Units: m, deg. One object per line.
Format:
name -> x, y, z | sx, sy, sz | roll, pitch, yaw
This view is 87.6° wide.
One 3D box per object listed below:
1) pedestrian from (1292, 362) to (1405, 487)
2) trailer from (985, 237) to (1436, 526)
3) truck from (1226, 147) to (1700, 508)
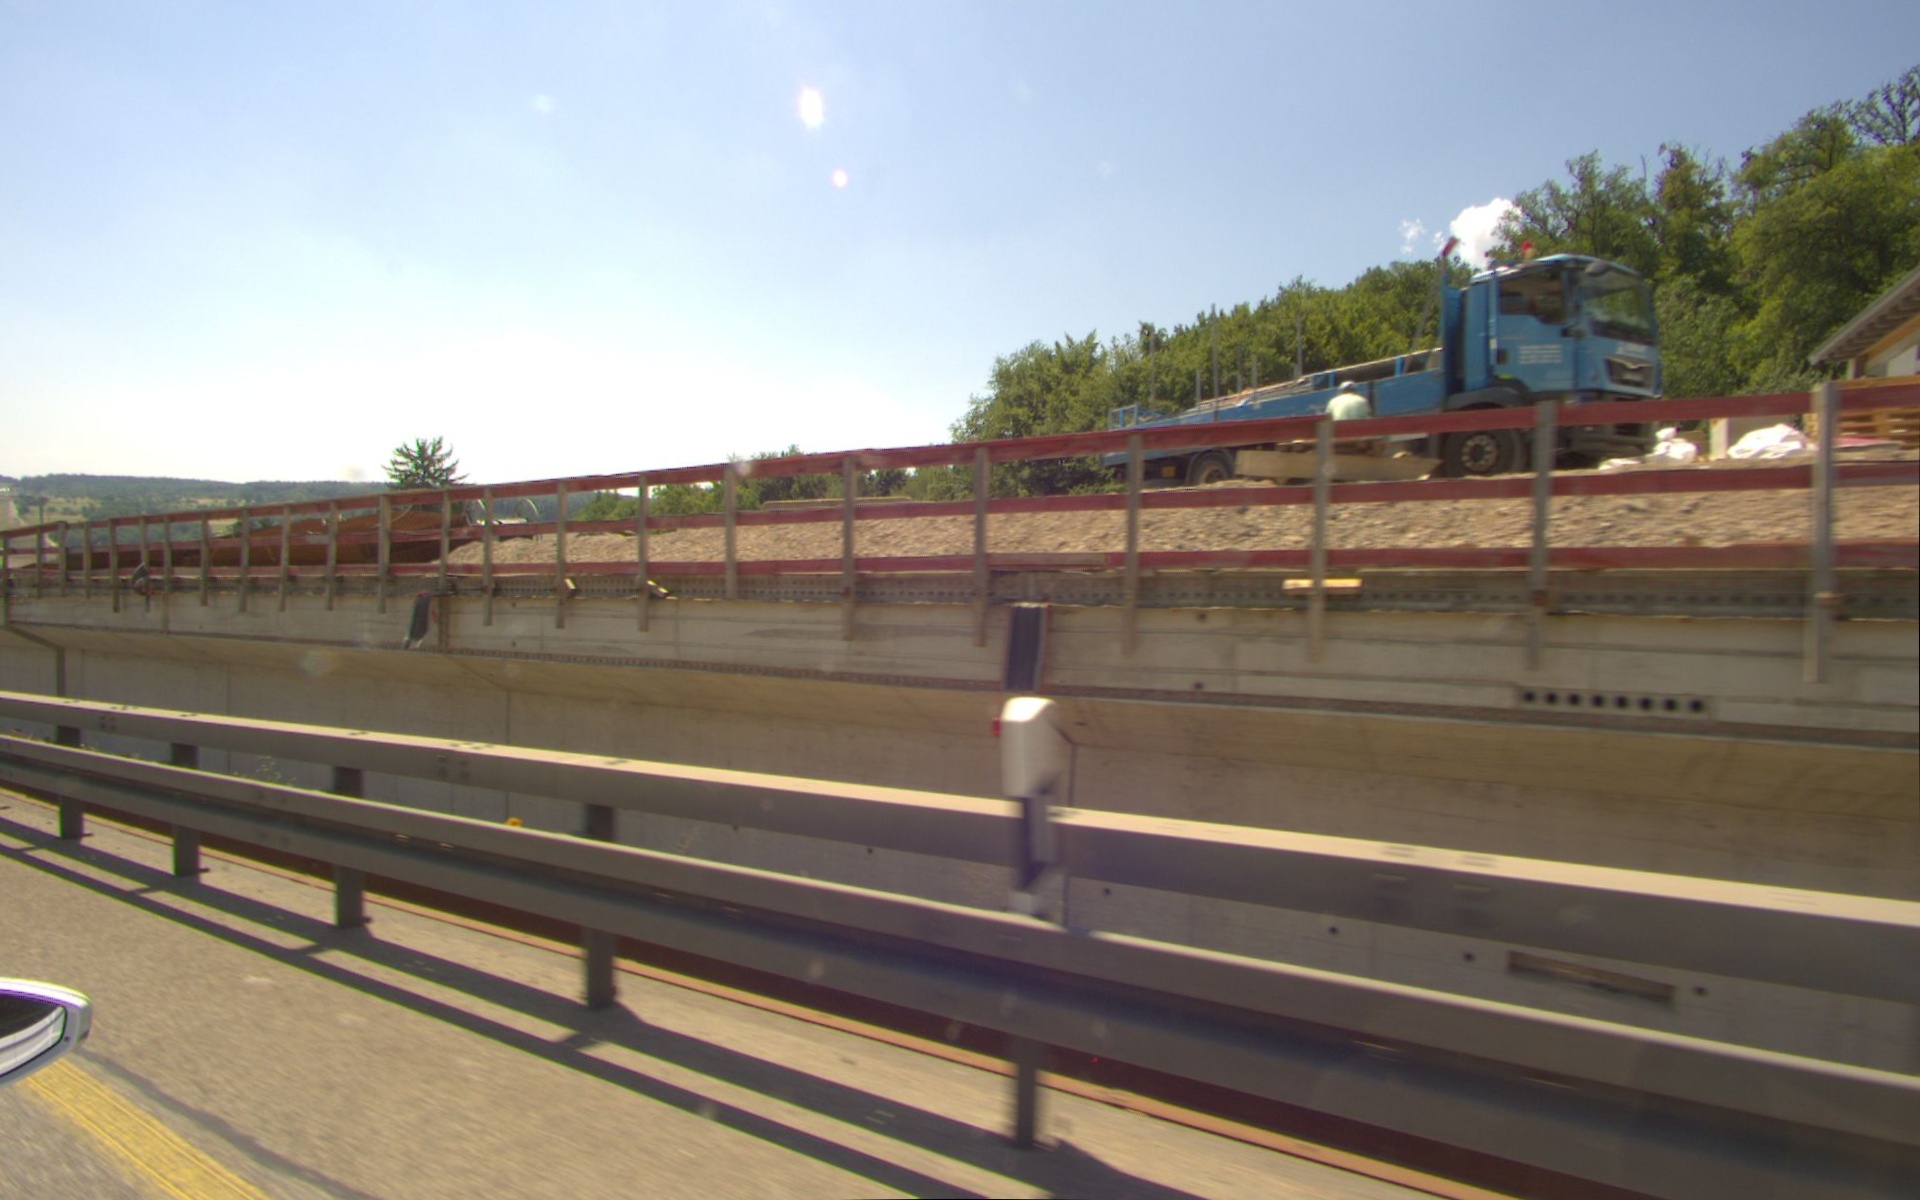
pedestrian -> 4.551, -2.012, 11.718 | 0.982, 1.165, 1.016 | -1, -2, 38
trailer -> 4.187, -3.592, 19.437 | 2.684, 3.744, 8.934 | 1, 1, -34
truck -> 7.157, -3.518, 15.017 | 2.684, 3.744, 5.672 | 1, 1, -34
